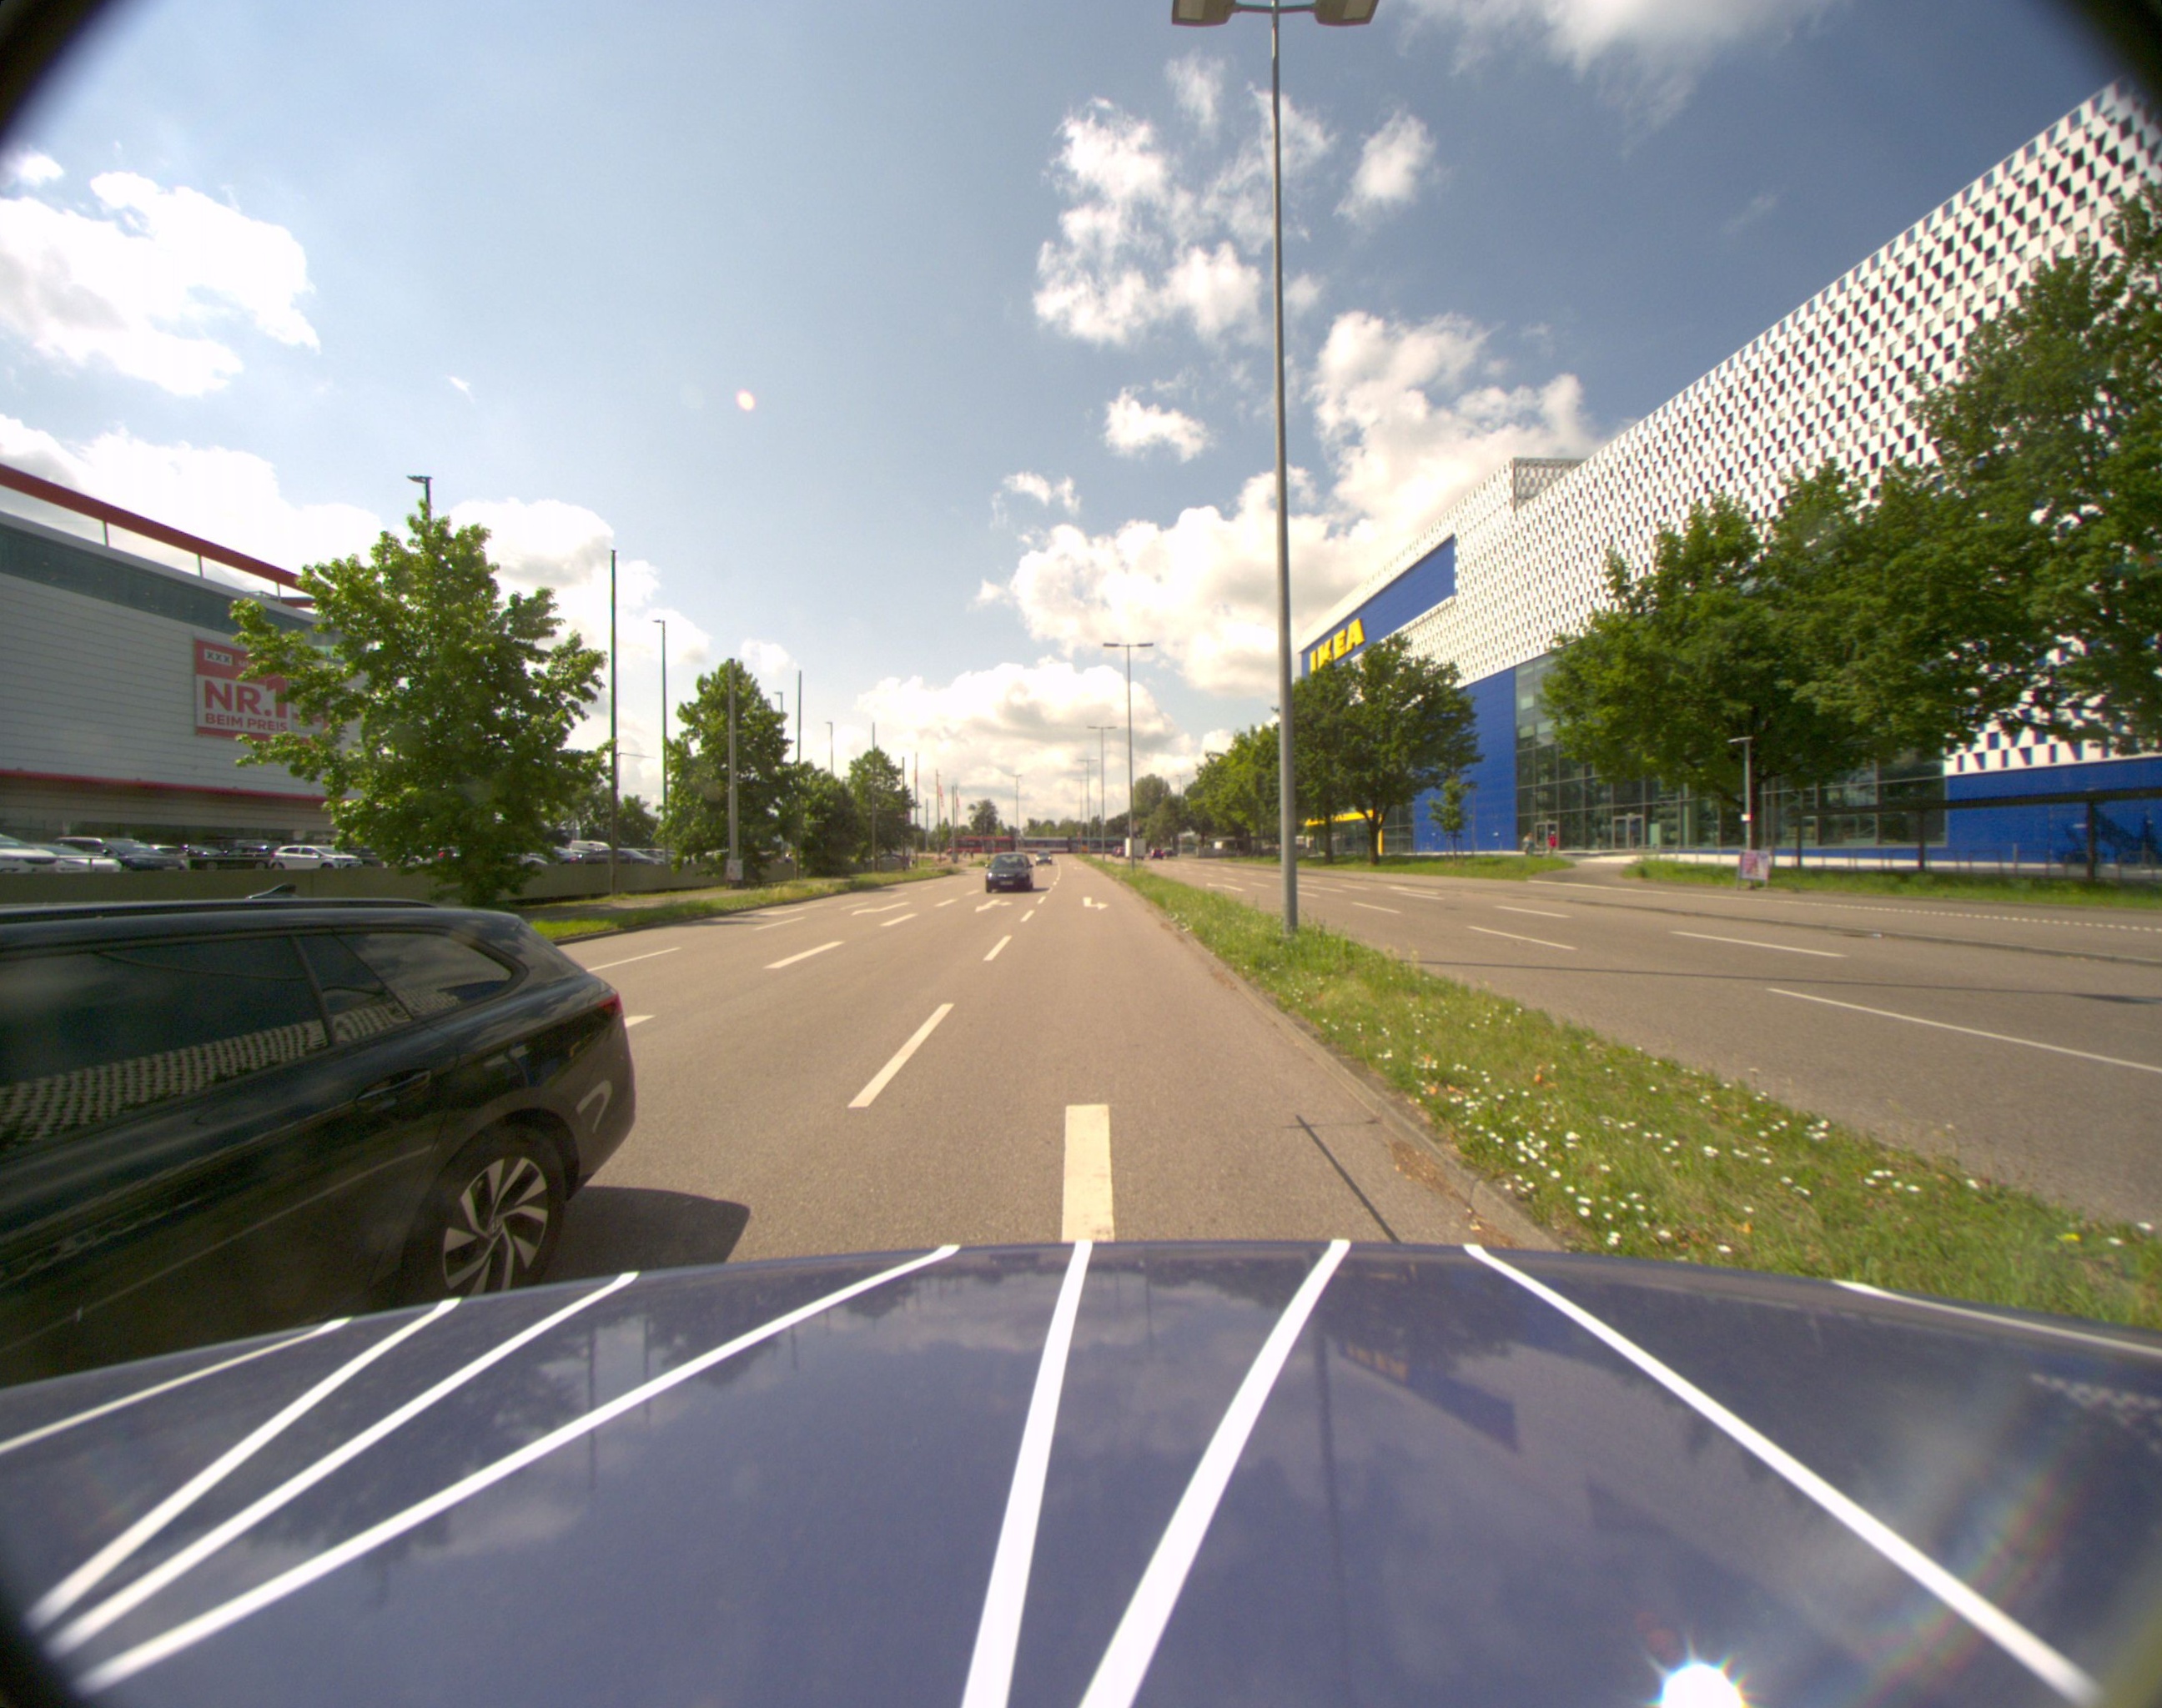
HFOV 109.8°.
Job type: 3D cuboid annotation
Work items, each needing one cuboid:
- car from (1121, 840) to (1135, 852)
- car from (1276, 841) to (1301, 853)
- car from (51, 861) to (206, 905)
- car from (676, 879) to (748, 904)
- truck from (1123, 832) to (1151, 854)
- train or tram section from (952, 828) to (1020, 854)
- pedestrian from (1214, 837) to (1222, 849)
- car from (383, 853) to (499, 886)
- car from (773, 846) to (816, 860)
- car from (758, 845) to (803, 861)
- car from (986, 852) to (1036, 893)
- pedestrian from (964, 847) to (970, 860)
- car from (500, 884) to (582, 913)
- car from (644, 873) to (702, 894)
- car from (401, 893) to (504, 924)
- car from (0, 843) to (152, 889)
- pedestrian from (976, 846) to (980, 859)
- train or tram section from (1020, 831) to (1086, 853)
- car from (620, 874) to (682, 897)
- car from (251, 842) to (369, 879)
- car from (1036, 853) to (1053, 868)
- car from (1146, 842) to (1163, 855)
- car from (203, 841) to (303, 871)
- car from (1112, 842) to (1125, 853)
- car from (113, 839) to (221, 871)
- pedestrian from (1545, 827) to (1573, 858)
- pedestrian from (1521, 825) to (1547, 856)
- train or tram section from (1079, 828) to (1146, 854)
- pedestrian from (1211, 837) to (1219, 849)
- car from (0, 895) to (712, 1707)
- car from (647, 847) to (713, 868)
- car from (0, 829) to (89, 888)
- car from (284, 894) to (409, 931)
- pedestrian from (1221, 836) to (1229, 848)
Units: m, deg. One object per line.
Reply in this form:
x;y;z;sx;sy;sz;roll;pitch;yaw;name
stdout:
7.126;-1.248;115.337;1.941;1.674;3.999;-2;1;1;car
38.291;-1.375;140.097;3.998;2.002;1.999;-2;2;-2;car
-39.289;1.175;31.389;4.417;1.596;1.956;-2;1;8;car
-27.724;2.787;57.150;4.420;1.596;1.954;-2;1;-1;car
7.343;-1.426;100.668;2.972;2.736;5.782;-2;1;-2;truck
-18.864;-2.595;152.074;13.098;4.535;3.730;-2;2;-2;train or tram section
24.282;-2.027;134.711;0.817;2.083;1.041;-1;2;42;pedestrian
-34.087;0.809;40.550;4.420;1.596;1.954;-2;1;-1;car
-34.610;-0.150;91.777;4.420;1.596;1.954;-2;1;-1;car
-34.453;-0.126;87.205;4.420;1.596;1.954;-2;1;-1;car
-2.720;0.681;30.348;1.606;1.521;4.269;-1;0;0;car
-16.281;-0.085;108.313;0.705;1.803;0.544;-3;2;-18;pedestrian
-37.449;3.078;52.733;4.421;1.754;1.559;-2;2;-3;car
-38.077;2.732;71.004;4.421;1.754;1.559;-2;2;-3;car
-37.540;3.239;45.446;4.421;1.596;1.954;-2;1;-2;car
-38.623;0.440;28.996;4.417;1.596;1.956;-2;1;8;car
-14.762;-0.177;108.658;0.527;1.803;0.676;-3;2;-9;pedestrian
-5.655;-2.506;152.500;13.099;4.346;3.730;0;2;-2;train or tram section
-37.915;2.771;67.096;4.421;1.754;1.559;-2;2;-3;car
-40.928;0.330;40.423;4.421;1.754;1.559;-2;2;-3;car
-3.851;0.656;81.560;1.606;1.521;4.269;-1;0;0;car
10.103;-0.737;105.153;1.941;1.674;3.999;-2;1;1;car
-49.537;0.115;45.492;4.416;1.596;1.956;-1;1;11;car
6.201;-1.095;125.976;1.941;1.674;3.999;-2;1;1;car
-49.133;0.048;40.862;4.415;1.596;1.957;-1;1;14;car
27.776;-0.682;44.175;0.854;1.718;1.164;-2;2;3;pedestrian
26.452;-0.801;44.403;0.854;1.718;1.164;-2;2;3;pedestrian
6.282;-2.572;152.891;13.098;4.646;3.730;-2;2;-2;train or tram section
23.898;-2.029;135.581;0.817;2.083;1.041;-1;2;42;pedestrian
-2.792;0.997;1.201;1.813;1.469;5.203;-2;1;0;car
-33.281;0.266;63.180;4.420;1.596;1.954;-2;1;-1;car
-34.493;0.184;23.981;3.997;1.784;1.749;-2;2;1;car
-36.971;2.940;38.322;4.419;1.596;1.955;-2;1;3;car
25.419;-2.056;134.126;0.817;2.083;1.041;-1;2;42;pedestrian
